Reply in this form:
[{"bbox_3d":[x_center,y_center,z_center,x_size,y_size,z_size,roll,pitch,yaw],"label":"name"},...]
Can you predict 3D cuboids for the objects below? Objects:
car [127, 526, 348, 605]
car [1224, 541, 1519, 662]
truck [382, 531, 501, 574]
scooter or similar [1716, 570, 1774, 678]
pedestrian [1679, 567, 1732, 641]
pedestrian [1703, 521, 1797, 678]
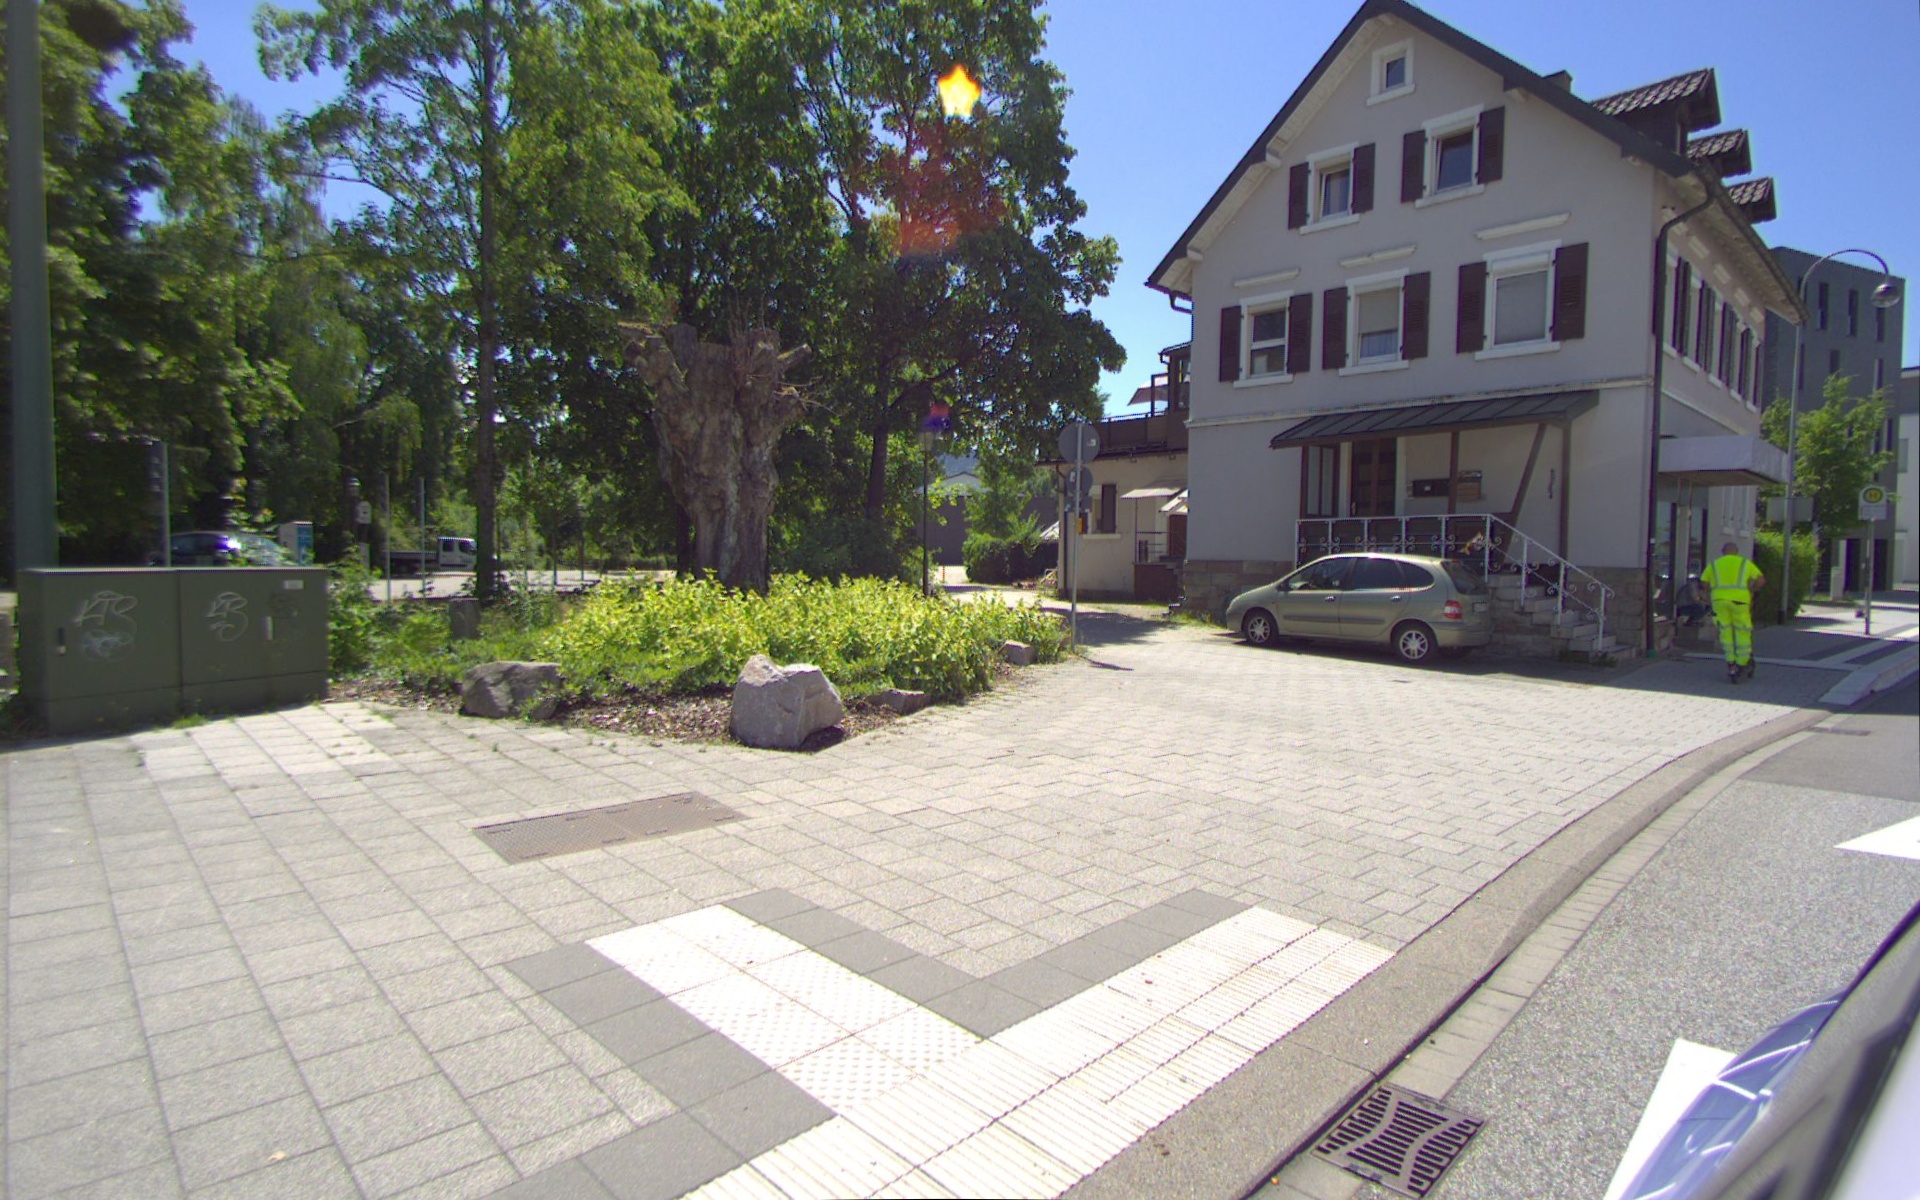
[{"bbox_3d":[-15.906,-0.791,22.358,3.939,1.621,1.836,1,3,13],"label":"car"},{"bbox_3d":[6.480,-0.069,16.264,1.764,1.615,3.994,0,4,-42],"label":"car"},{"bbox_3d":[-31.372,-2.844,61.407,6.088,2.474,2.269,0,0,-15],"label":"truck"},{"bbox_3d":[10.843,0.297,13.966,0.525,1.389,1.328,3,4,41],"label":"scooter or similar"},{"bbox_3d":[13.635,0.050,18.501,0.683,1.301,0.572,3,3,43],"label":"pedestrian"},{"bbox_3d":[10.811,-0.041,13.849,0.917,2.054,0.887,3,3,41],"label":"pedestrian"}]
